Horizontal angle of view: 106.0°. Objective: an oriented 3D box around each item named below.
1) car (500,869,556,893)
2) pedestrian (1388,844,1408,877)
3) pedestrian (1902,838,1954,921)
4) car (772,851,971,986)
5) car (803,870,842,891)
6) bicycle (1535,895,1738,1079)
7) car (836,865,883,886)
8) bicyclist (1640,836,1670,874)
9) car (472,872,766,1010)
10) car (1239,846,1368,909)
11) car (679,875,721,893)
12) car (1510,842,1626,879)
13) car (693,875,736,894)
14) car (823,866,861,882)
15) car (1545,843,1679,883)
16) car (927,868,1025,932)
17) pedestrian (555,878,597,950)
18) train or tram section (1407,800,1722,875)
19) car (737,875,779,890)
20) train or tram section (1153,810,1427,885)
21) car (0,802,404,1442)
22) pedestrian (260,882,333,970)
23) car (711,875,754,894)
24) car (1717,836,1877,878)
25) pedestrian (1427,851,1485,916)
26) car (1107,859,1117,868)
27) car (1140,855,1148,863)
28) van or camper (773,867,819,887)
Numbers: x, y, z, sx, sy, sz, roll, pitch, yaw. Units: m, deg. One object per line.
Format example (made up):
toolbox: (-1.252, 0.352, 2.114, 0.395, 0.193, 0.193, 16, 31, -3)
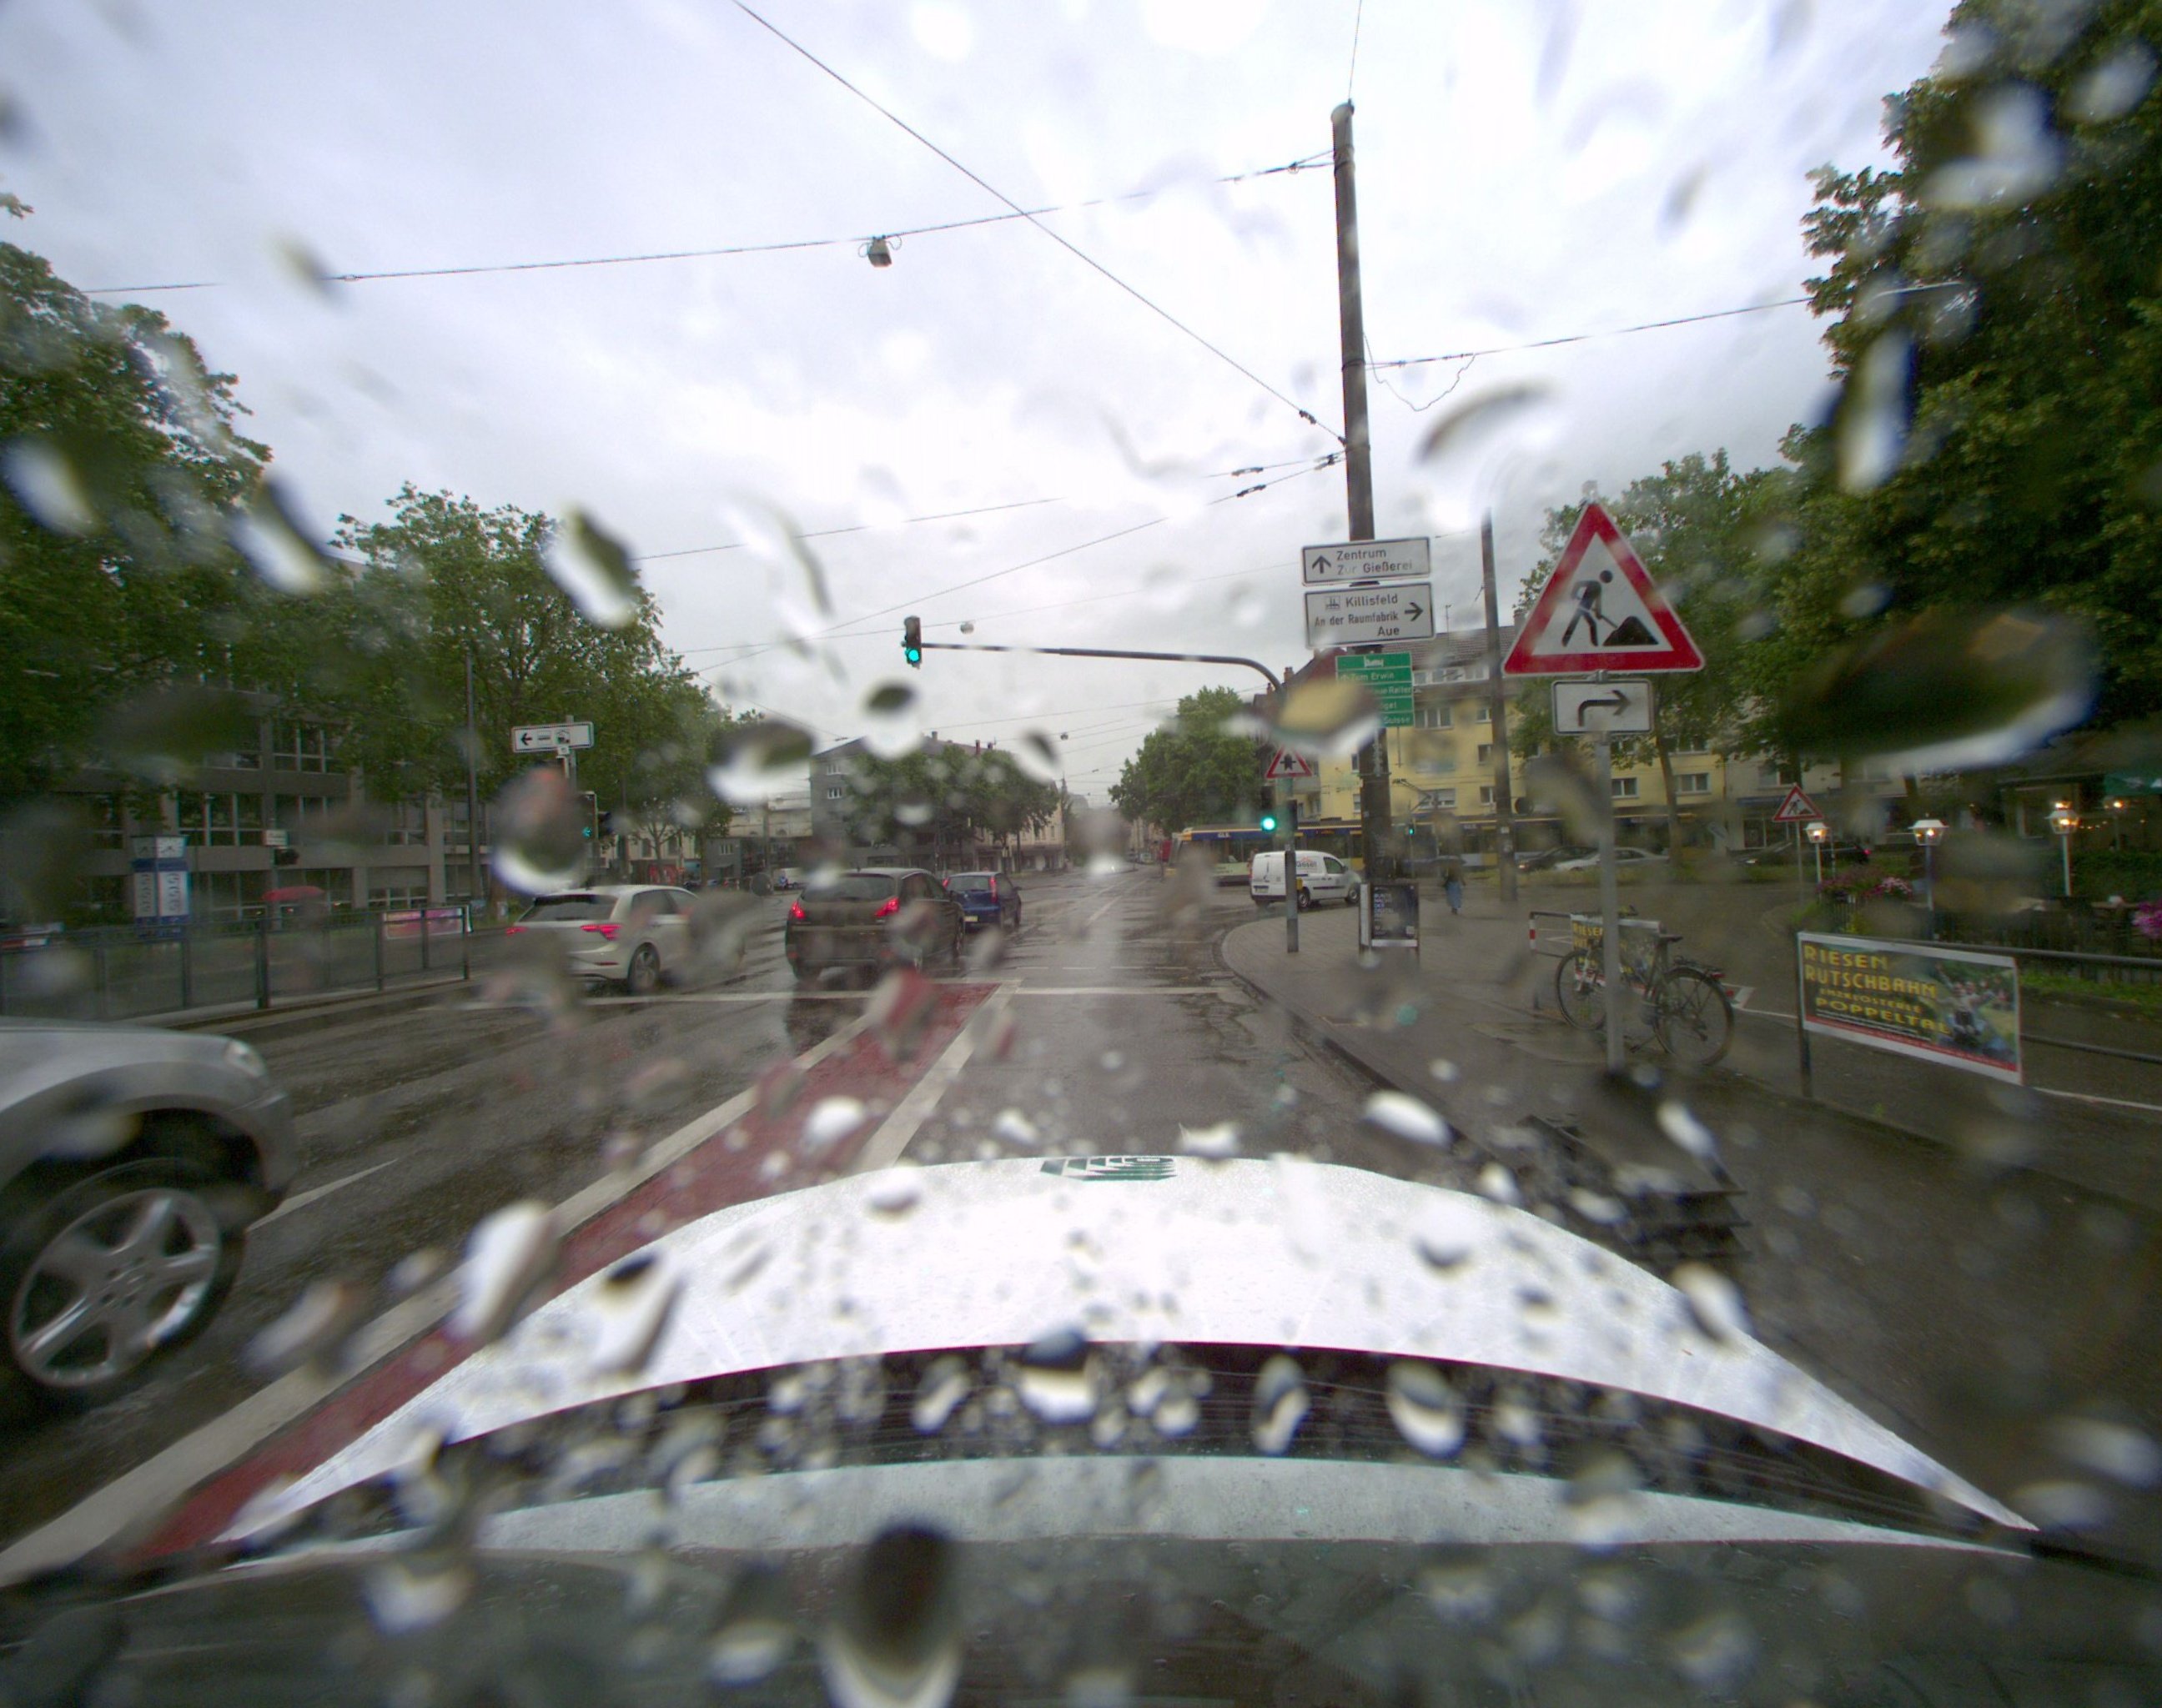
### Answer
car: (-43.694, 2.136, 64.372, 3.949, 1.772, 2.017, -2, 0, 28)
pedestrian: (16.720, 0.327, 42.881, 0.804, 1.677, 1.023, -2, -1, 28)
pedestrian: (17.322, 0.517, 16.656, 0.546, 1.645, 0.389, -4, 0, 3)
car: (-3.017, 0.839, 12.699, 1.794, 1.709, 4.194, -1, 0, 3)
car: (-27.804, 2.845, 87.823, 1.977, 2.013, 4.019, -2, 0, 18)
bicycle: (4.355, 0.968, 6.543, 0.420, 1.168, 1.793, 0, 0, 0)
car: (-23.189, 2.250, 85.422, 2.041, 2.013, 4.426, -1, 0, 32)
bicyclist: (26.452, 0.065, 37.545, 0.881, 1.716, 0.717, -1, 0, 12)
car: (-6.548, 1.129, 12.191, 1.799, 1.536, 4.194, -2, 0, 3)
car: (7.282, 0.703, 26.504, 4.133, 1.797, 1.888, -2, 0, -37)
car: (-44.872, 3.534, 96.013, 1.974, 1.764, 4.026, -3, 0, 32)
car: (22.672, 0.278, 38.068, 4.243, 1.501, 1.885, -3, 0, 10)
car: (-42.042, 3.443, 93.412, 1.974, 1.929, 4.026, -1, 0, 36)
car: (-25.659, 2.125, 87.403, 1.905, 1.618, 4.019, -2, 0, 18)
car: (22.619, 0.364, 34.870, 4.452, 1.489, 1.747, -3, 0, 15)
car: (-2.629, 1.186, 21.267, 1.875, 1.459, 3.833, -1, -3, 3)
pedestrian: (-11.856, 1.392, 19.120, 0.739, 1.610, 0.710, -2, 0, -37)
train or tram section: (25.835, -0.826, 44.409, 14.536, 3.558, 3.125, -2, 0, 10)
car: (-35.659, 3.156, 90.081, 1.975, 1.614, 4.023, -2, -3, 27)
train or tram section: (11.440, -0.409, 44.830, 14.525, 3.558, 3.107, -2, 0, -9)
car: (-3.758, 0.712, 0.978, 1.901, 1.646, 4.680, -1, 0, 1)
pedestrian: (-16.260, 1.461, 16.915, 0.954, 1.711, 0.820, -2, 0, -37)
car: (-39.442, 3.440, 92.272, 1.974, 2.014, 4.025, -1, -2, 31)
car: (29.492, 0.116, 33.694, 4.590, 1.485, 1.870, -3, 0, 15)
pedestrian: (9.985, 0.757, 21.682, 1.003, 1.667, 1.092, -1, 0, -43)
car: (5.989, 1.884, 157.159, 1.986, 1.689, 4.000, 0, -1, 1)
car: (11.997, 0.945, 155.631, 1.470, 1.363, 3.464, 0, -1, 3)
van or camper: (-30.734, 2.486, 87.957, 1.975, 2.075, 4.681, -2, -1, 25)
